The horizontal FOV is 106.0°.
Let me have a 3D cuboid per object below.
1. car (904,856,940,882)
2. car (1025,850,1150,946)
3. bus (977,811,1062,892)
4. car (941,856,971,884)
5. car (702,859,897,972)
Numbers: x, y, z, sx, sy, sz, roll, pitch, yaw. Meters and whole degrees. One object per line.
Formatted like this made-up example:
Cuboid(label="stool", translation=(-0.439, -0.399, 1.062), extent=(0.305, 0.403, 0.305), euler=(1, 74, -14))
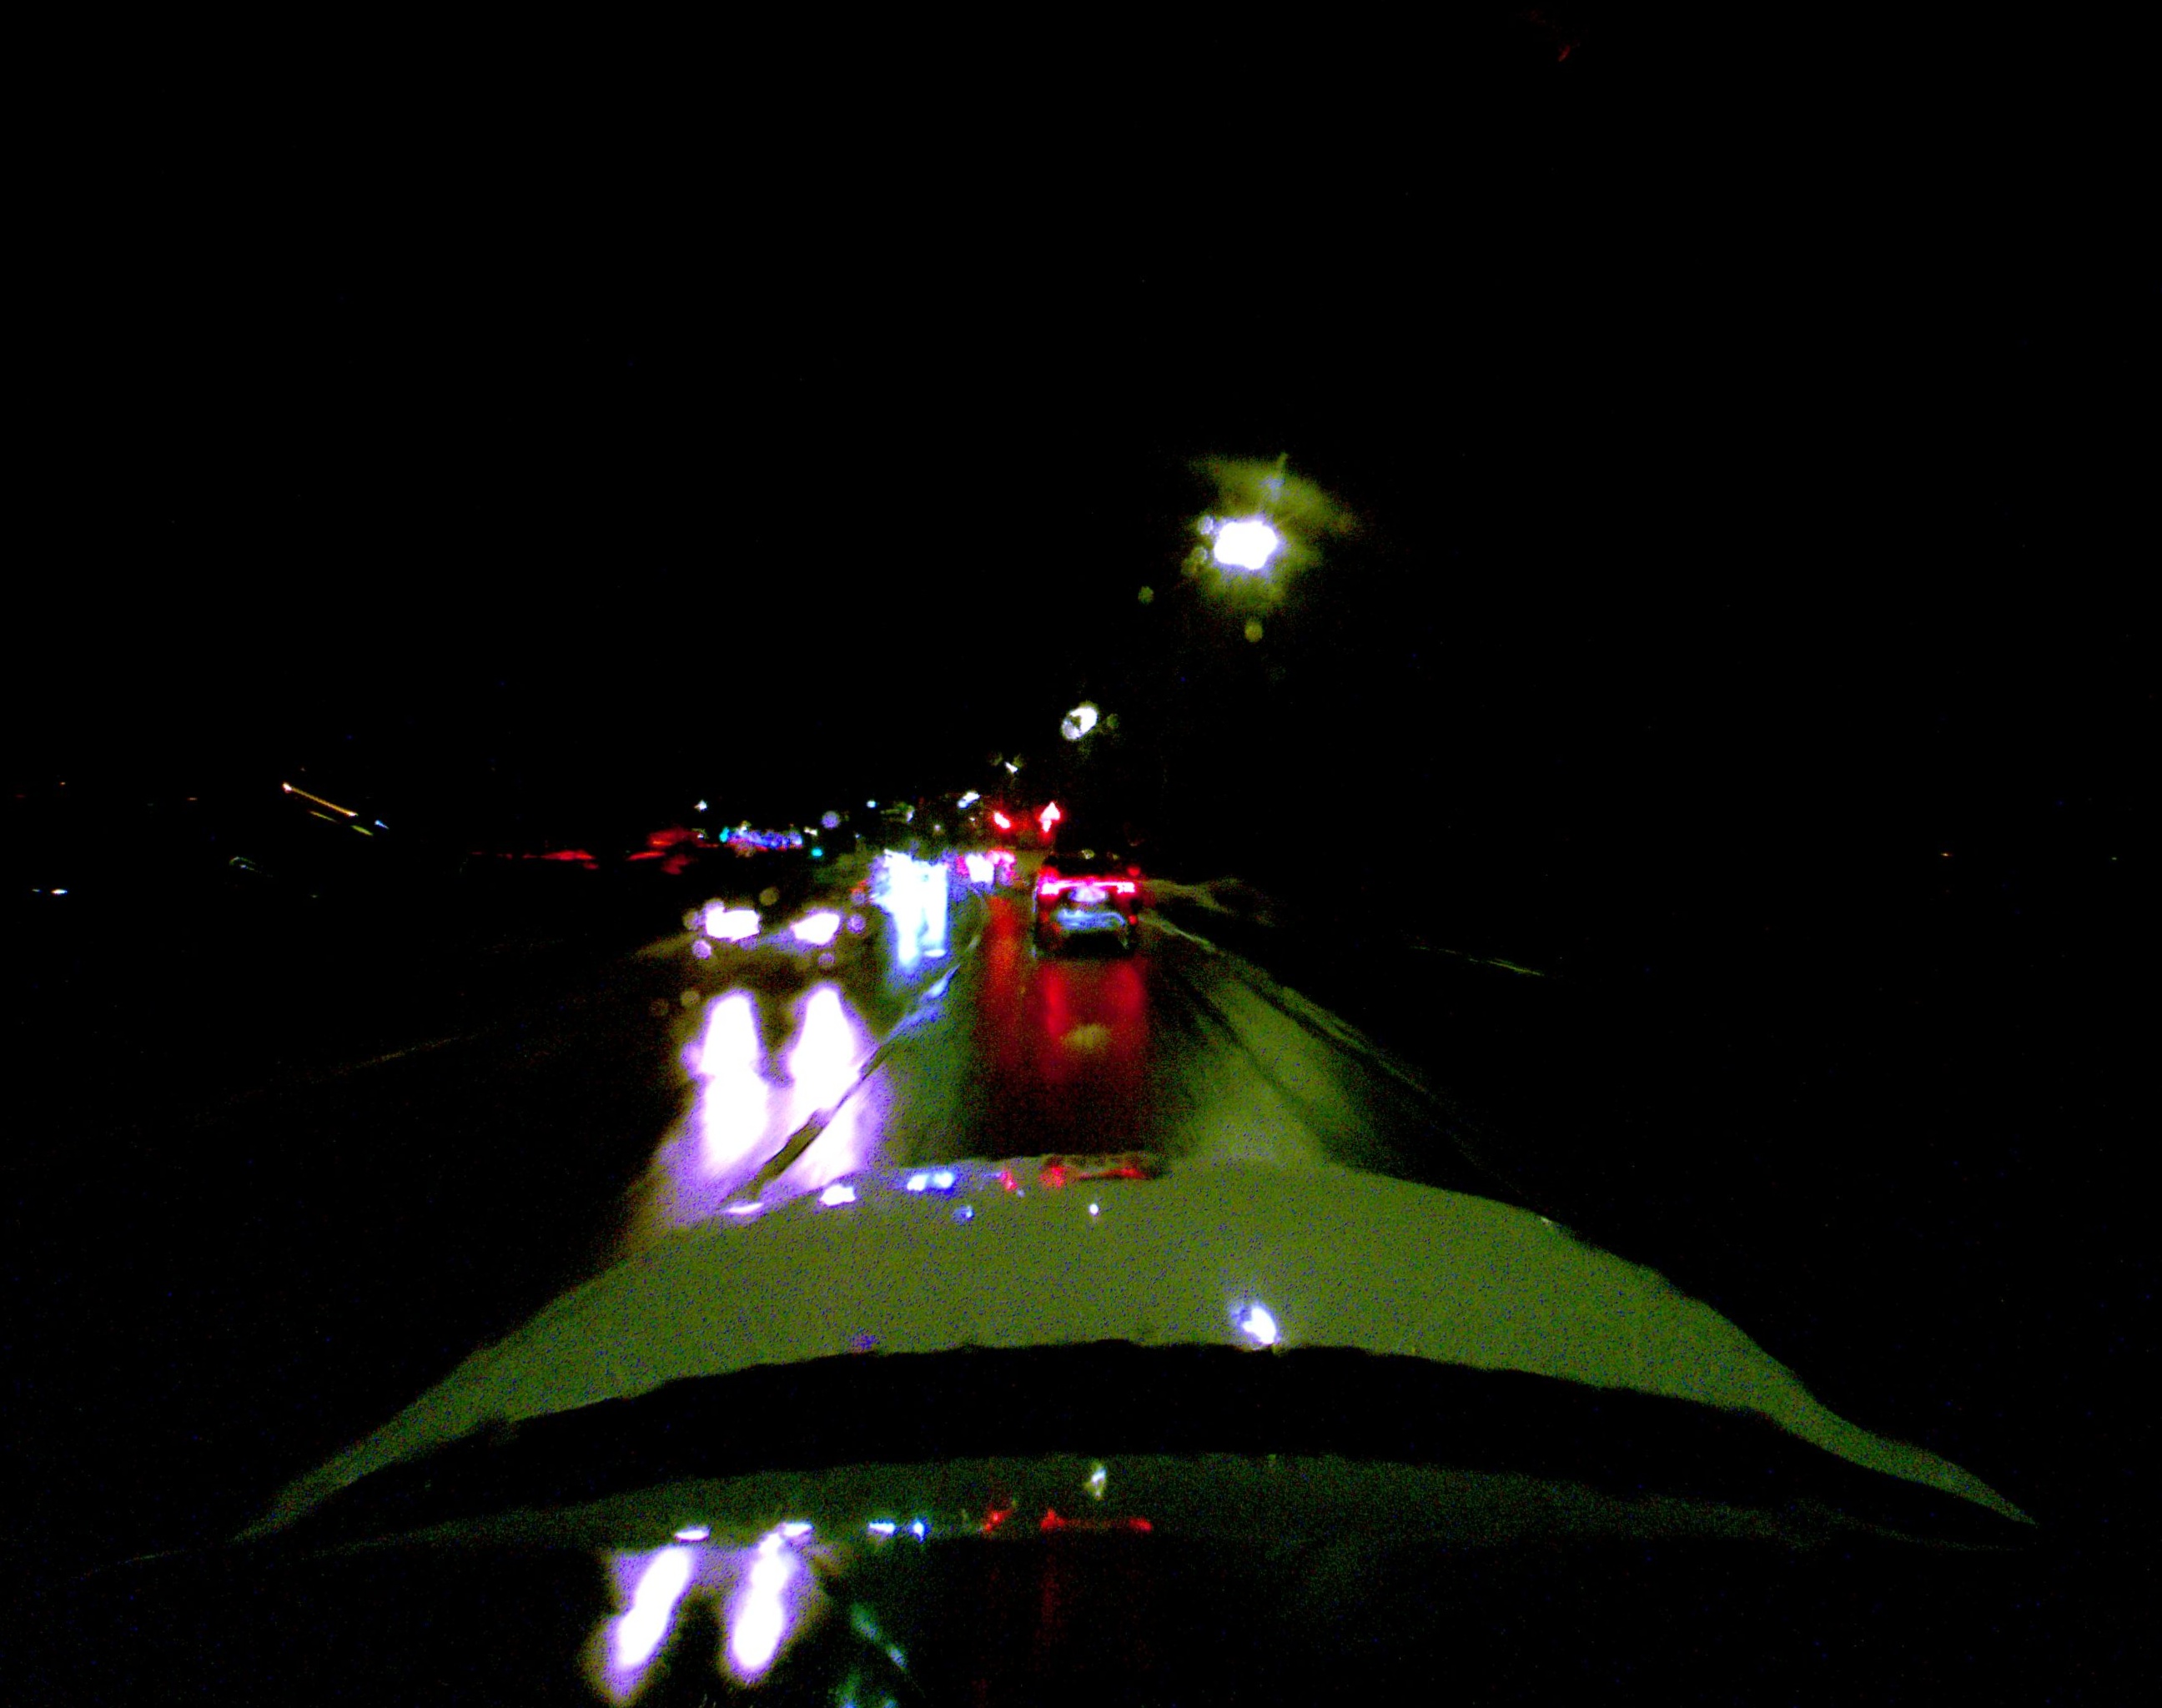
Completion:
Cuboid(label="car", translation=(-9.010, 0.857, 46.415), extent=(1.791, 1.392, 4.578), euler=(-2, -1, -8))
Cuboid(label="car", translation=(0.096, 0.685, 14.867), extent=(1.987, 1.524, 3.999), euler=(0, 0, 0))
Cuboid(label="bus", translation=(-3.046, -0.110, 37.318), extent=(3.043, 3.212, 9.020), euler=(-1, 0, -10))
Cuboid(label="car", translation=(-11.982, 1.473, 77.816), extent=(2.699, 2.478, 5.285), euler=(-1, 0, -11))
Cuboid(label="car", translation=(-4.080, 0.802, 12.481), extent=(1.724, 1.405, 3.860), euler=(-1, 0, -2))
